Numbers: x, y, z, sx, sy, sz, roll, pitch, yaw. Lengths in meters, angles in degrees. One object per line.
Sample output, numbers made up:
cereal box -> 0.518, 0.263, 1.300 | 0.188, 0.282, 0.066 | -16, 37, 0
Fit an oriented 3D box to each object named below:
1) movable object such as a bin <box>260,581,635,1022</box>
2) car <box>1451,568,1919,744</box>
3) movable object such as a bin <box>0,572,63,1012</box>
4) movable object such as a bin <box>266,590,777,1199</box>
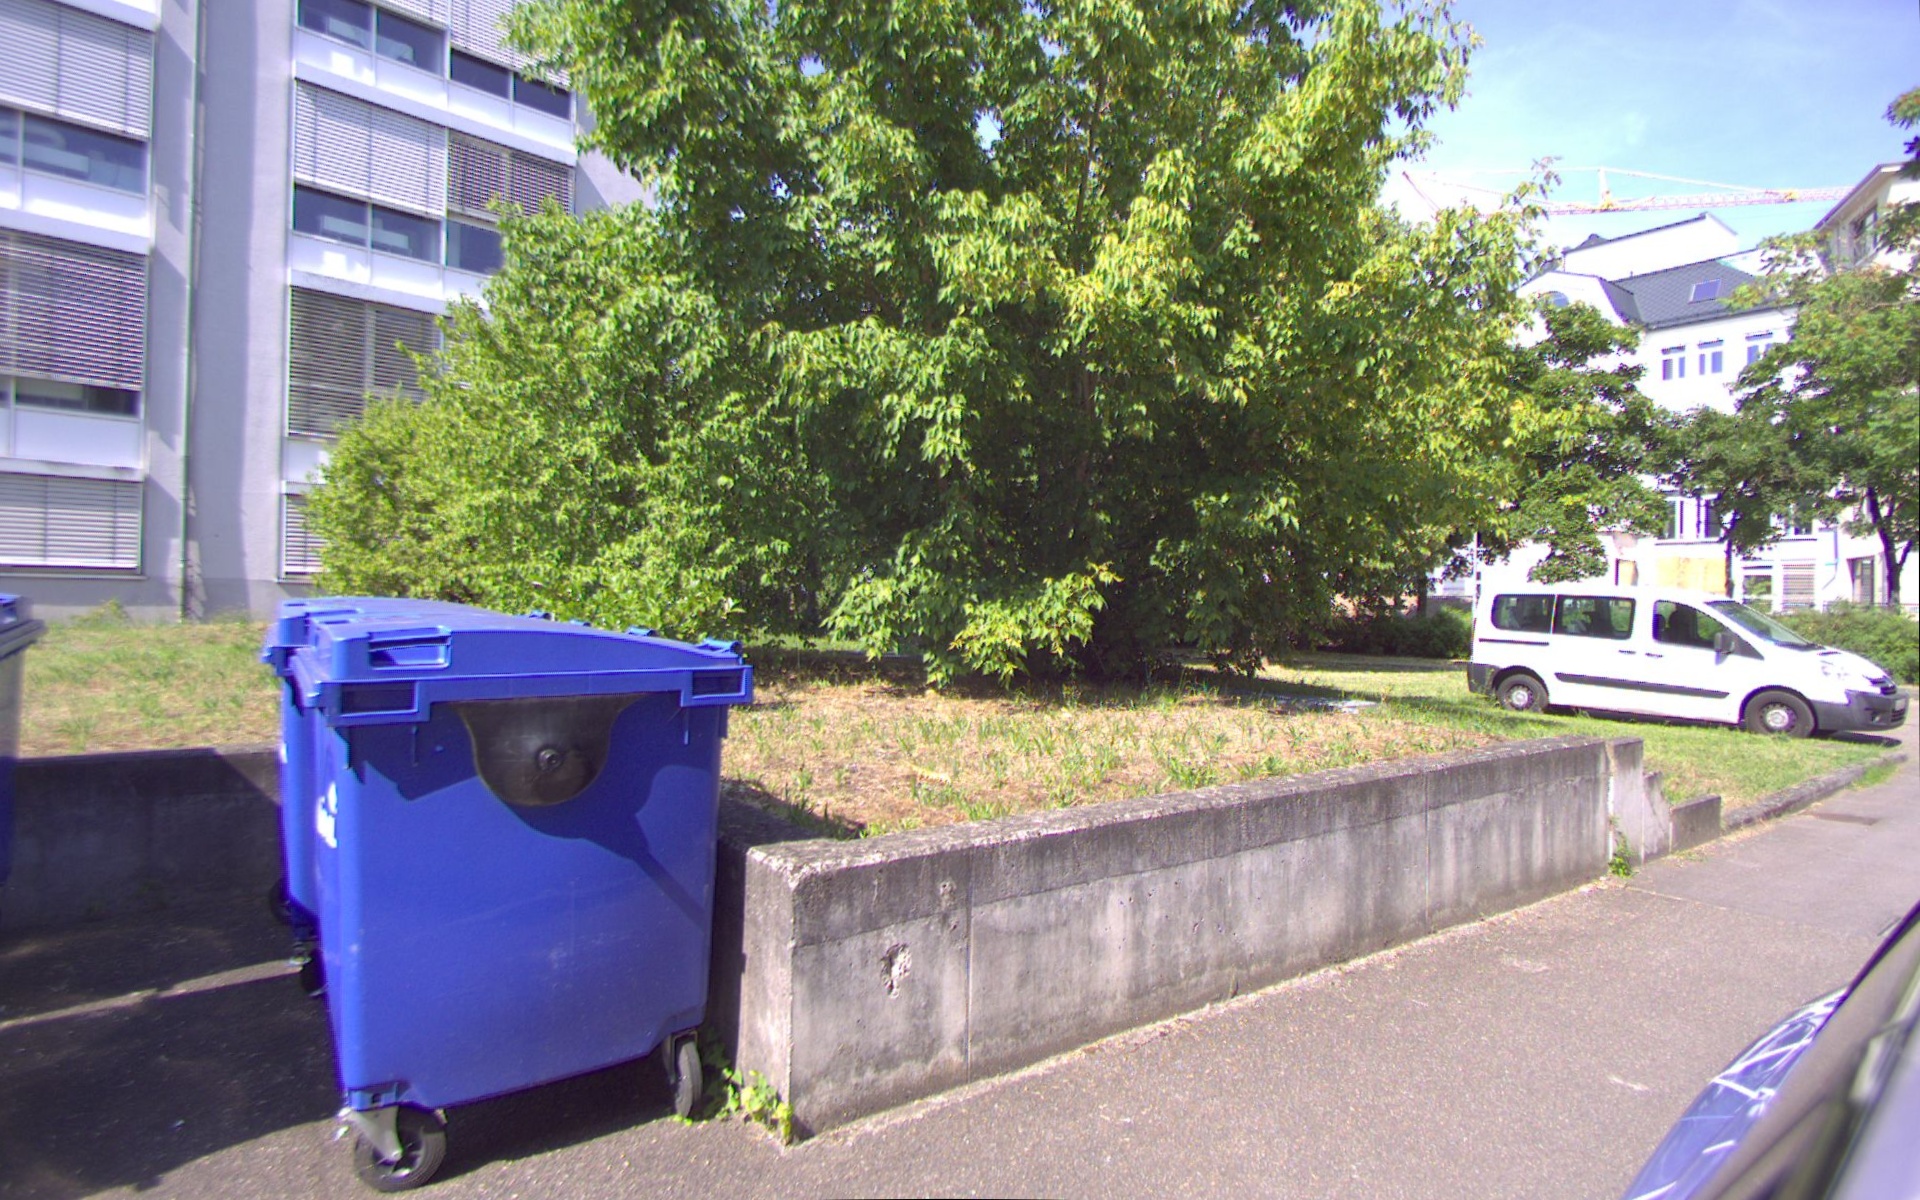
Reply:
movable object such as a bin -> -2.039, 0.624, 3.972 | 1.120, 1.357, 1.252 | 1, 0, -34
car -> 9.723, 0.620, 13.889 | 1.962, 1.957, 5.040 | 2, -1, -35
movable object such as a bin -> -3.679, 0.573, 3.254 | 1.122, 1.353, 1.157 | 1, 0, -40
movable object such as a bin -> -1.317, 0.666, 2.920 | 1.120, 1.335, 1.252 | 0, 3, -35
